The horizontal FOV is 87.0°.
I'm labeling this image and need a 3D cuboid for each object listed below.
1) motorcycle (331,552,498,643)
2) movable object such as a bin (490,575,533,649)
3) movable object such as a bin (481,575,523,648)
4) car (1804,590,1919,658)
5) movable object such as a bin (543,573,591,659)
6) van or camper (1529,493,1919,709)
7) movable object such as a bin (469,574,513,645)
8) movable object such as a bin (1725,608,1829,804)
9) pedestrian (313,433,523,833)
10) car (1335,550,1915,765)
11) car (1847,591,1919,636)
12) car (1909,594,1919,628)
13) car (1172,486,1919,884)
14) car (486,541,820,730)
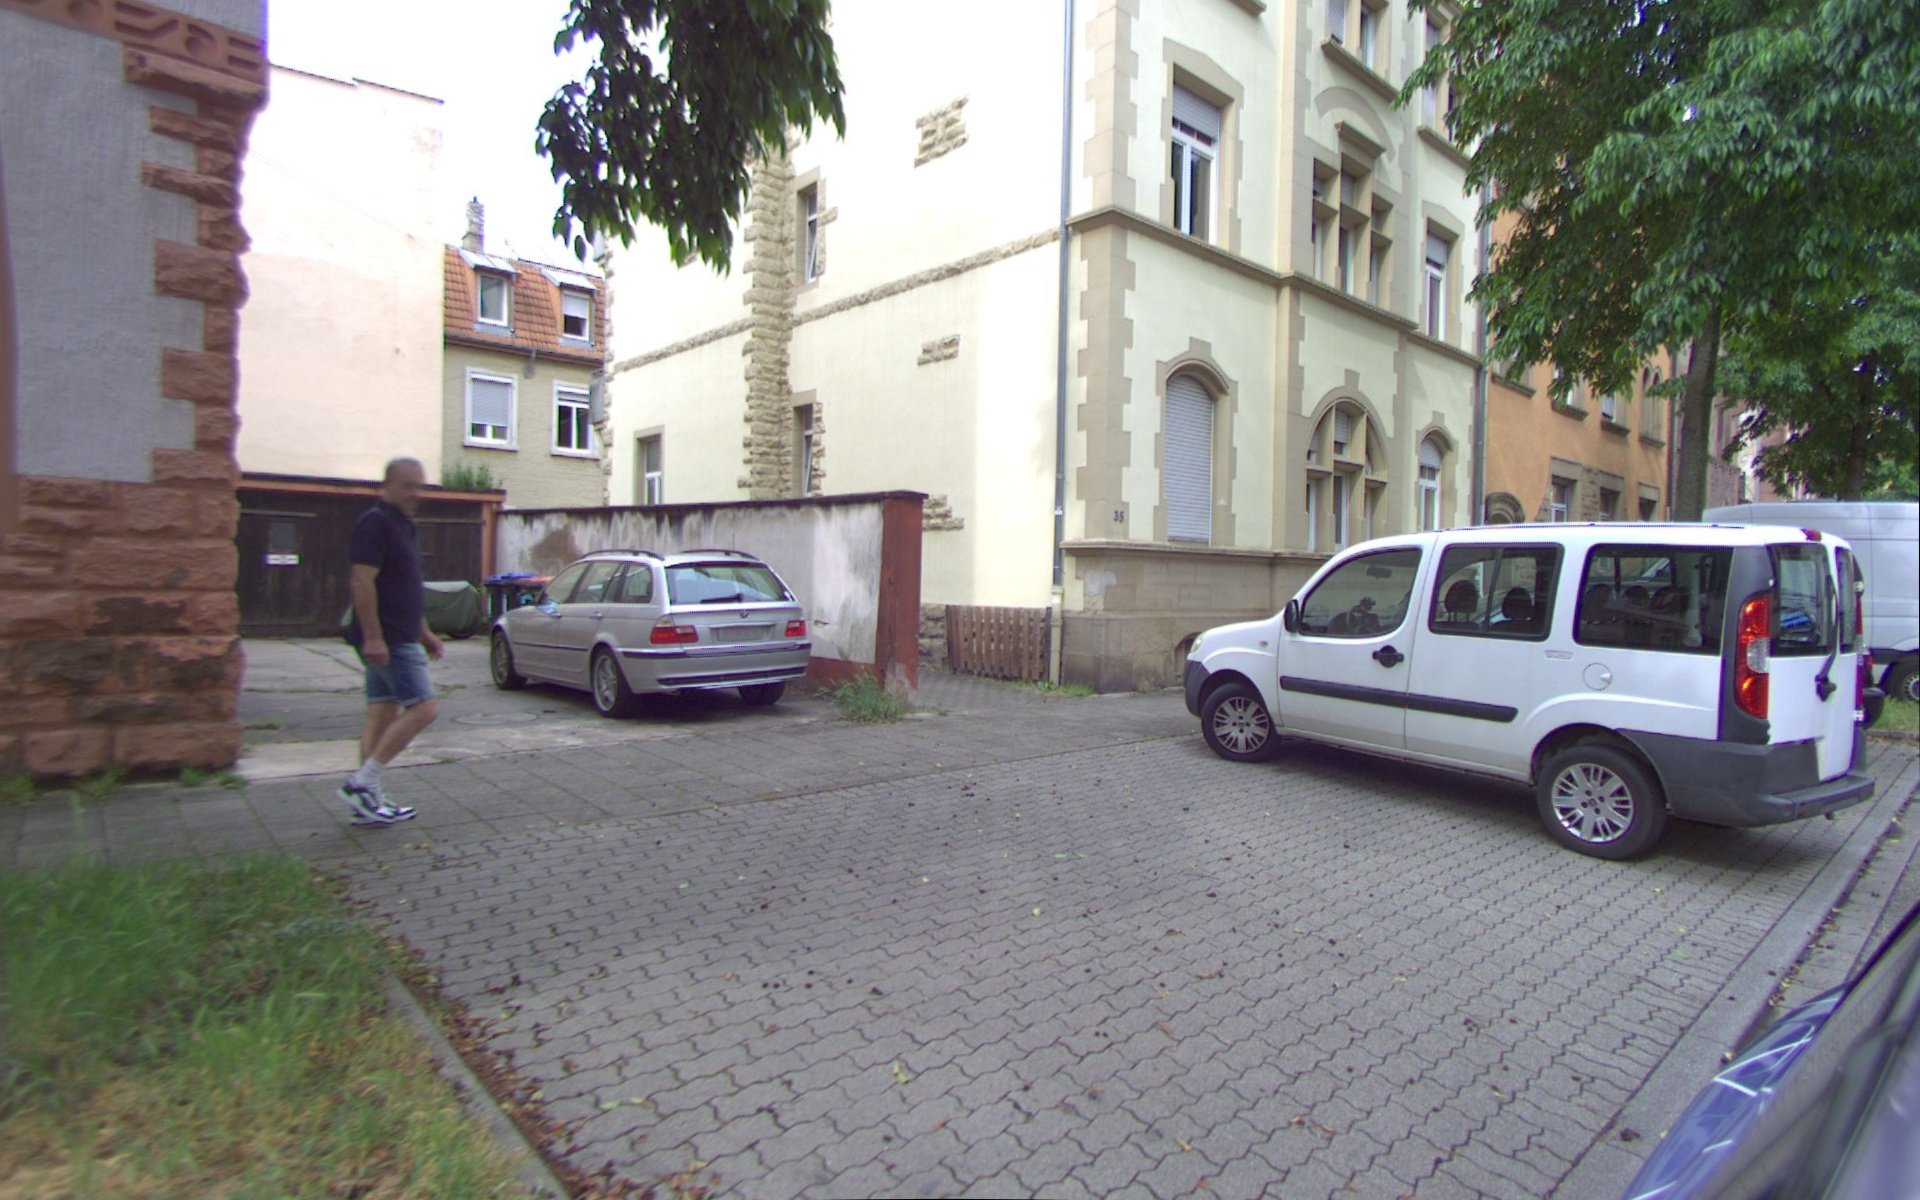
[{"bbox_3d":[-8.642,-0.049,16.093,2.210,1.349,0.798,0,2,-40],"label":"motorcycle"},{"bbox_3d":[-6.609,0.173,14.907,0.469,1.064,0.404,0,2,-42],"label":"movable object such as a bin"},{"bbox_3d":[-6.902,0.168,15.261,0.469,1.064,0.404,0,2,-42],"label":"movable object such as a bin"},{"bbox_3d":[21.982,0.540,23.265,3.557,1.485,1.621,1,1,17],"label":"car"},{"bbox_3d":[-5.267,0.210,13.571,0.469,1.124,0.404,0,2,-42],"label":"movable object such as a bin"},{"bbox_3d":[10.812,-0.048,13.691,5.003,2.623,2.062,2,2,18],"label":"van or camper"},{"bbox_3d":[-7.267,0.136,15.680,0.469,1.064,0.579,0,2,-42],"label":"movable object such as a bin"},{"bbox_3d":[5.732,0.709,7.101,0.590,1.286,0.454,0,1,-42],"label":"movable object such as a bin"},{"bbox_3d":[-2.772,0.146,5.173,0.803,1.834,0.702,0,0,-41],"label":"pedestrian"},{"bbox_3d":[5.871,0.407,9.612,4.223,1.637,1.752,2,2,19],"label":"car"},{"bbox_3d":[33.934,0.486,35.443,4.123,1.517,1.816,1,1,36],"label":"car"},{"bbox_3d":[43.122,0.494,43.212,3.583,1.485,1.610,1,1,35],"label":"car"},{"bbox_3d":[3.485,0.315,6.808,1.686,1.834,4.003,1,2,-33],"label":"car"},{"bbox_3d":[-3.157,0.186,9.886,1.582,1.471,3.994,-1,3,-42],"label":"car"}]
